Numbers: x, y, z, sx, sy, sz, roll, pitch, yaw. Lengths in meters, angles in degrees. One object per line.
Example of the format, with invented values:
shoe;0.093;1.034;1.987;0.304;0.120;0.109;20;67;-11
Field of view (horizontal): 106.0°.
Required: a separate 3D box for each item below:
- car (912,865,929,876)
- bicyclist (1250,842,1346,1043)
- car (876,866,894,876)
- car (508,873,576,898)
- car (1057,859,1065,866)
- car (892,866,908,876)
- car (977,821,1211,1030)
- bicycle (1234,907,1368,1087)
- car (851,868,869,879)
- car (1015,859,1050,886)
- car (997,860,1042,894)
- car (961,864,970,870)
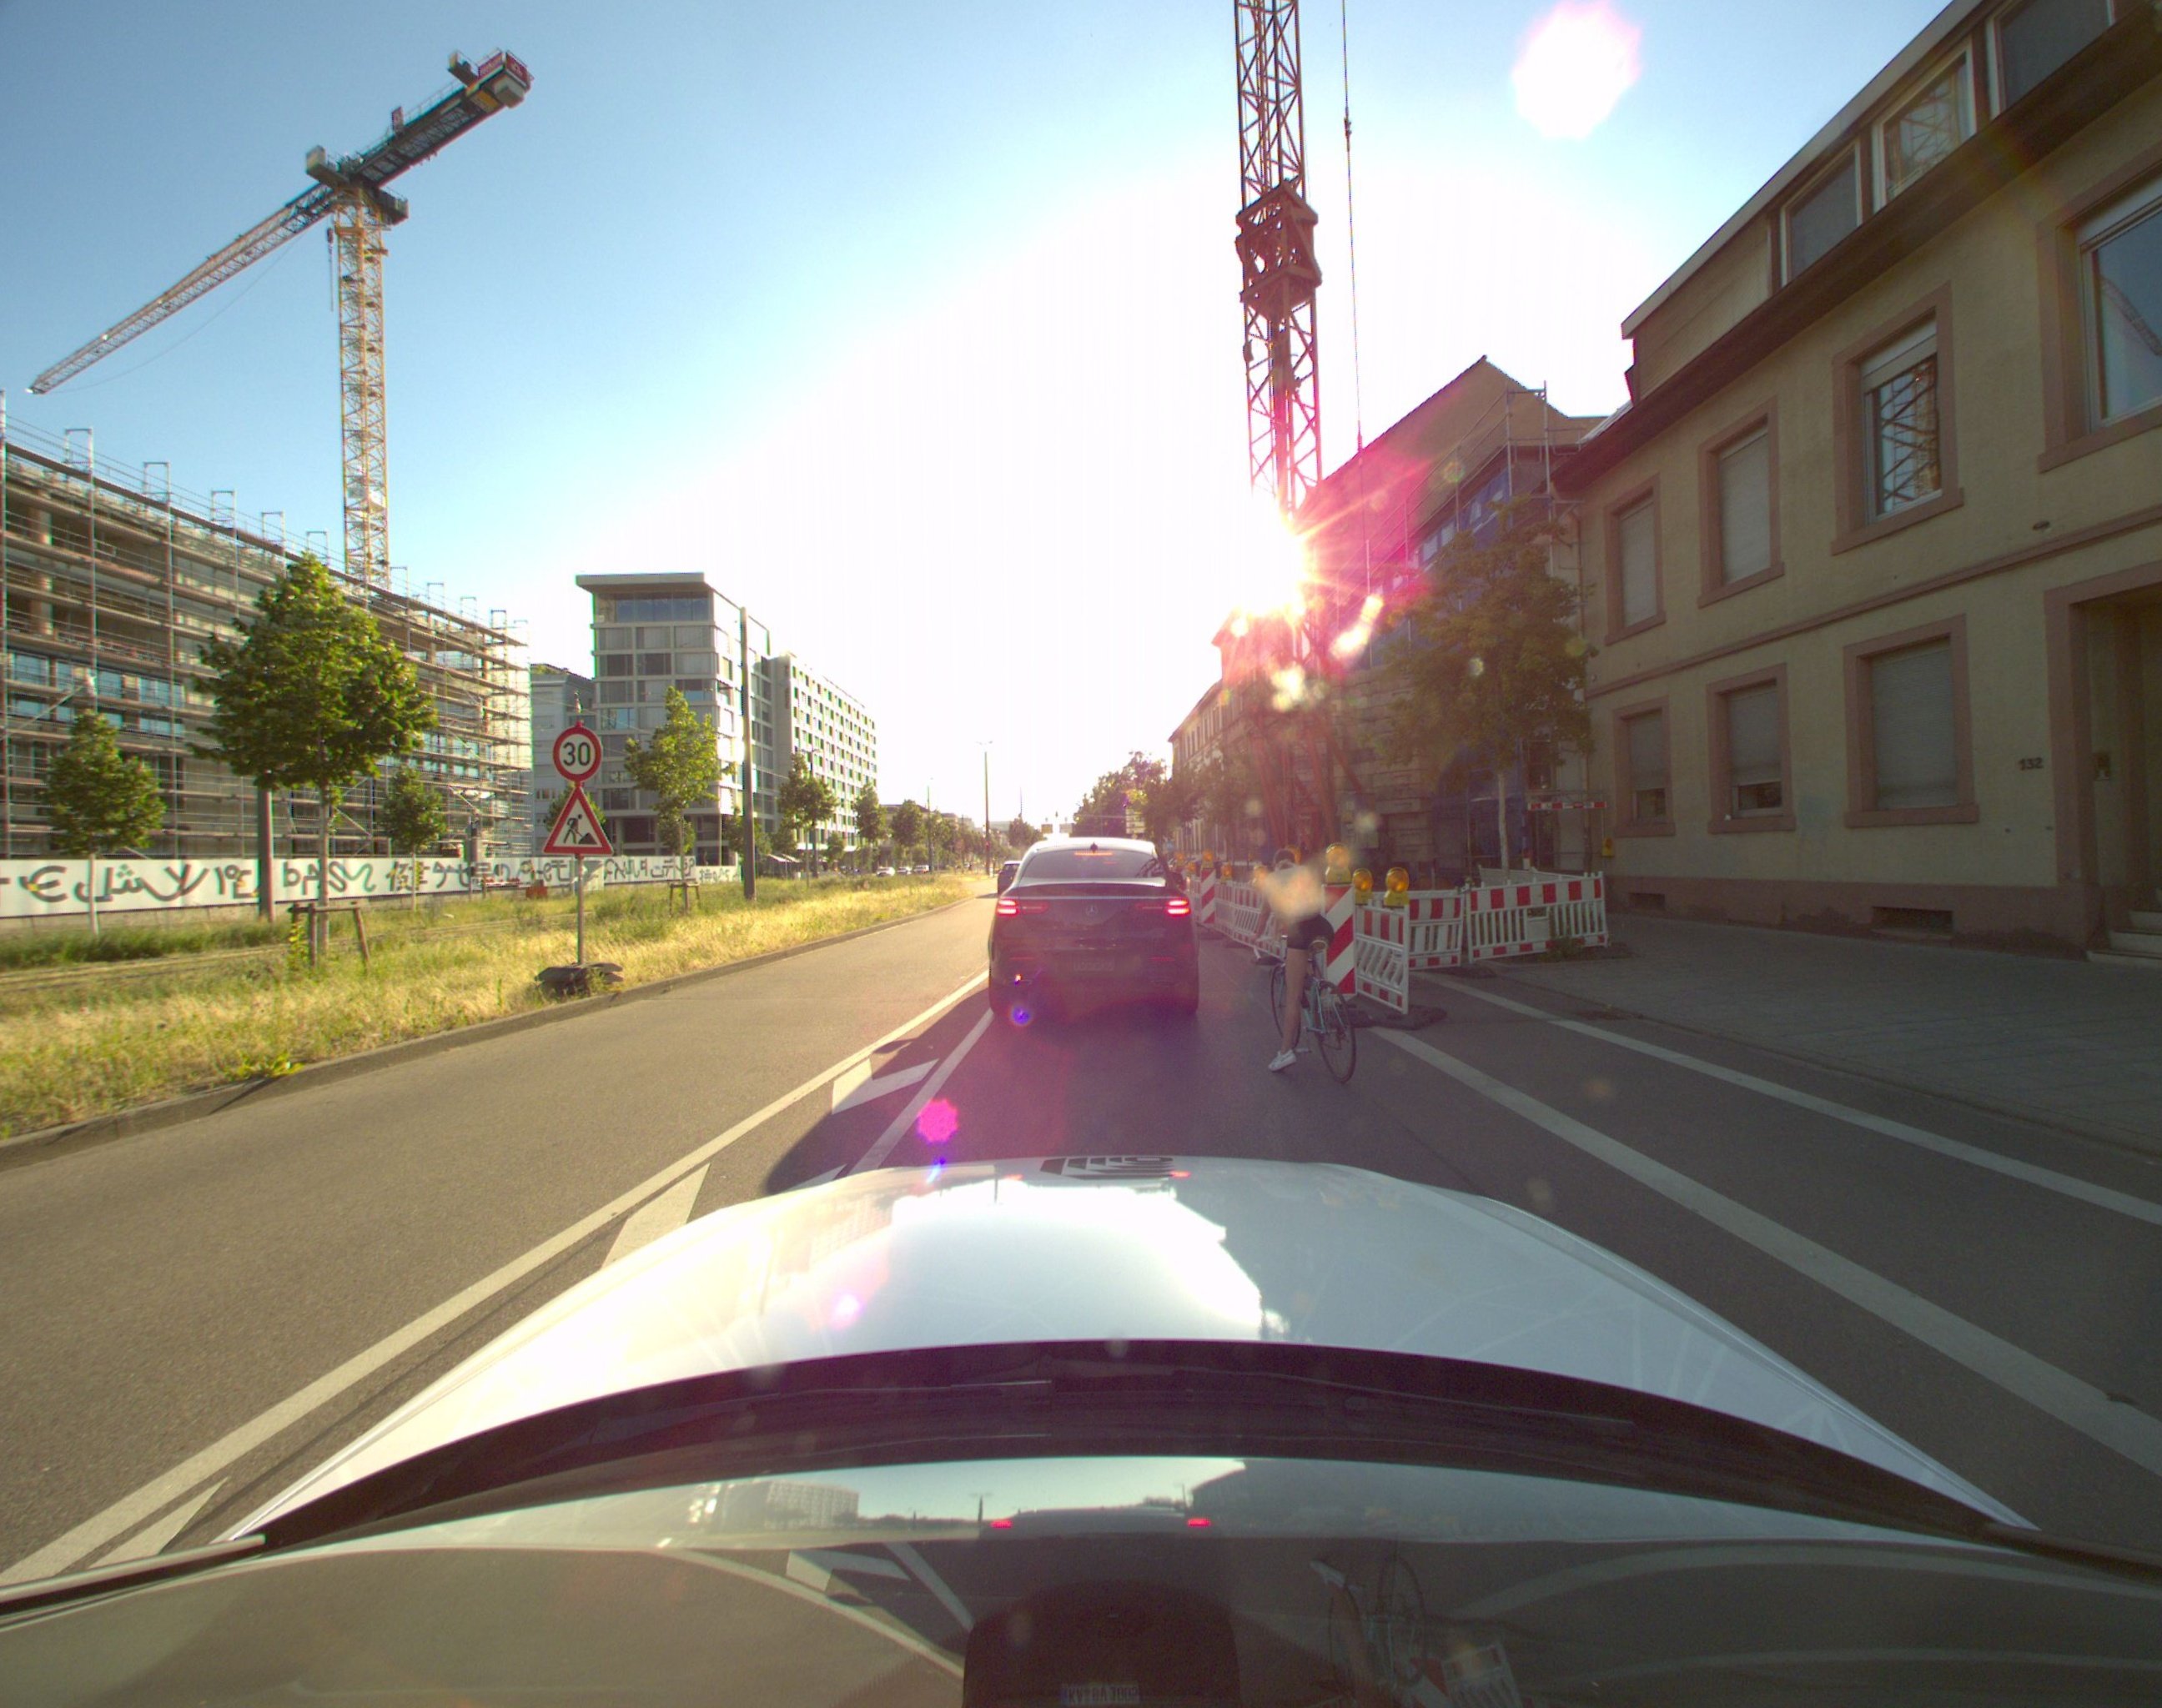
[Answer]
car;-22.744;2.336;115.509;1.703;1.442;3.581;0;-1;0
bicyclist;1.575;0.620;5.988;0.521;1.395;0.614;0;-1;-1
car;-28.038;2.382;116.316;1.703;1.442;3.581;0;-1;0
car;-32.557;1.880;49.281;1.703;1.442;3.581;0;-1;0
car;-4.536;1.899;184.265;1.703;1.442;3.581;0;-1;0
car;-28.096;2.595;126.332;1.703;1.442;3.581;0;-1;0
car;0.174;0.627;8.975;1.986;1.772;4.001;0;-1;2
bicycle;1.579;0.975;6.105;0.511;1.052;1.724;0;-1;-1
car;-32.180;2.813;118.531;1.703;1.442;3.581;0;-1;0
car;-2.605;0.977;44.203;1.703;1.442;3.581;0;-1;0
car;-2.682;0.988;36.038;1.703;1.442;3.581;0;-1;0
car;-27.696;3.148;195.910;1.703;1.442;3.581;0;-1;0
